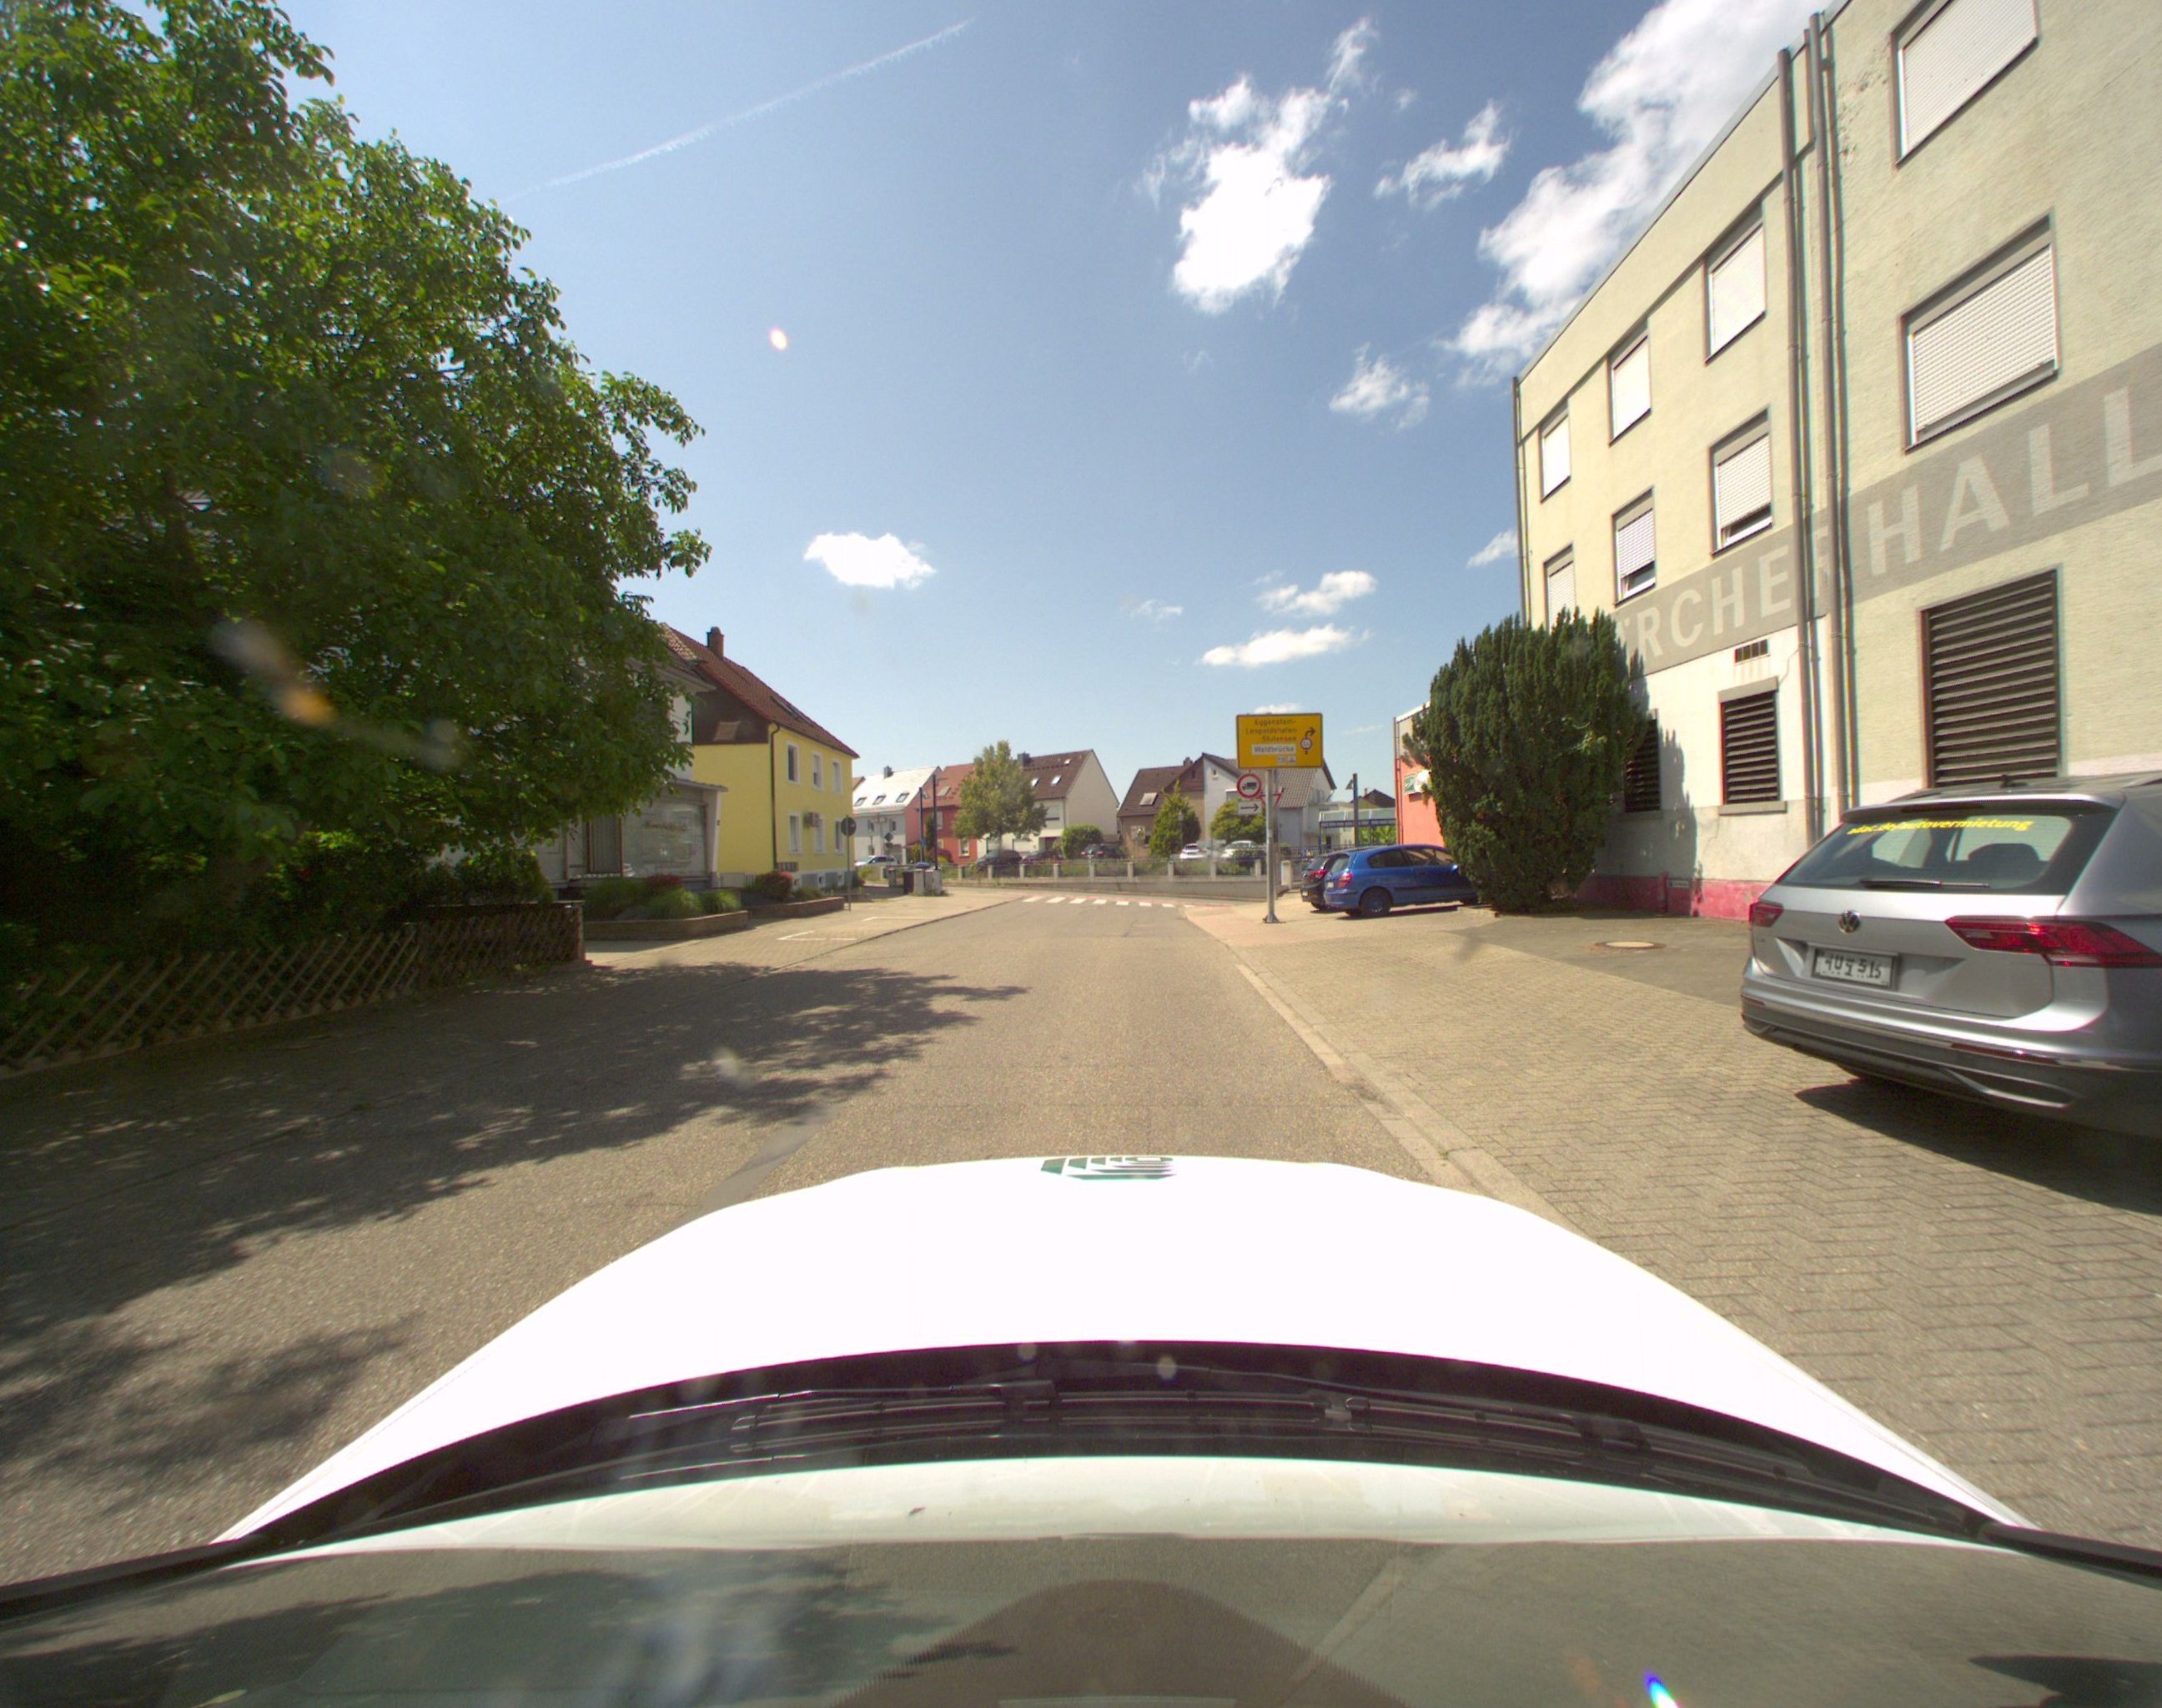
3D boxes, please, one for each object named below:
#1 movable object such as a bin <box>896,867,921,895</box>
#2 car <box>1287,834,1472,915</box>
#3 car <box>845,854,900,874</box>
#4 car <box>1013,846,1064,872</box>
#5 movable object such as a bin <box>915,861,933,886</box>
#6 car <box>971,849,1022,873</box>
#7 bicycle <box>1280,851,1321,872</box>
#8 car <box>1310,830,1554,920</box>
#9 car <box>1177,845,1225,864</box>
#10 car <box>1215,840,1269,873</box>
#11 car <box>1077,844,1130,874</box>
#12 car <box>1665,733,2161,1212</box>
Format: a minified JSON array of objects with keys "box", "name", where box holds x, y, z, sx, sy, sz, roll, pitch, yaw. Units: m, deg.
[{"box":[-7.795,1.199,36.776,0.881,1.225,0.903,-1,-1,4],"name":"movable object such as a bin"},{"box":[7.420,0.513,20.523,3.883,1.490,1.810,-7,-2,0],"name":"car"},{"box":[-17.403,0.832,68.227,1.725,1.488,4.283,3,-1,35],"name":"car"},{"box":[-2.904,0.367,56.649,1.850,1.586,3.631,3,-1,29],"name":"car"},{"box":[-7.735,0.969,40.147,0.840,1.213,1.272,0,-1,-10],"name":"movable object such as a bin"},{"box":[-6.038,0.504,58.779,1.850,1.586,3.631,3,-1,29],"name":"car"},{"box":[12.050,0.413,44.713,2.096,1.126,0.335,-1,0,22],"name":"bicycle"},{"box":[7.293,0.458,17.258,4.307,1.440,1.780,-5,-3,1],"name":"car"},{"box":[7.501,0.025,50.679,1.808,1.020,3.480,3,-1,29],"name":"car"},{"box":[9.837,0.180,49.482,1.975,1.797,4.221,3,-1,29],"name":"car"},{"box":[1.558,0.352,54.497,1.850,1.797,4.024,3,-1,29],"name":"car"},{"box":[5.728,0.307,3.893,4.438,1.697,1.923,-3,0,0],"name":"car"}]
